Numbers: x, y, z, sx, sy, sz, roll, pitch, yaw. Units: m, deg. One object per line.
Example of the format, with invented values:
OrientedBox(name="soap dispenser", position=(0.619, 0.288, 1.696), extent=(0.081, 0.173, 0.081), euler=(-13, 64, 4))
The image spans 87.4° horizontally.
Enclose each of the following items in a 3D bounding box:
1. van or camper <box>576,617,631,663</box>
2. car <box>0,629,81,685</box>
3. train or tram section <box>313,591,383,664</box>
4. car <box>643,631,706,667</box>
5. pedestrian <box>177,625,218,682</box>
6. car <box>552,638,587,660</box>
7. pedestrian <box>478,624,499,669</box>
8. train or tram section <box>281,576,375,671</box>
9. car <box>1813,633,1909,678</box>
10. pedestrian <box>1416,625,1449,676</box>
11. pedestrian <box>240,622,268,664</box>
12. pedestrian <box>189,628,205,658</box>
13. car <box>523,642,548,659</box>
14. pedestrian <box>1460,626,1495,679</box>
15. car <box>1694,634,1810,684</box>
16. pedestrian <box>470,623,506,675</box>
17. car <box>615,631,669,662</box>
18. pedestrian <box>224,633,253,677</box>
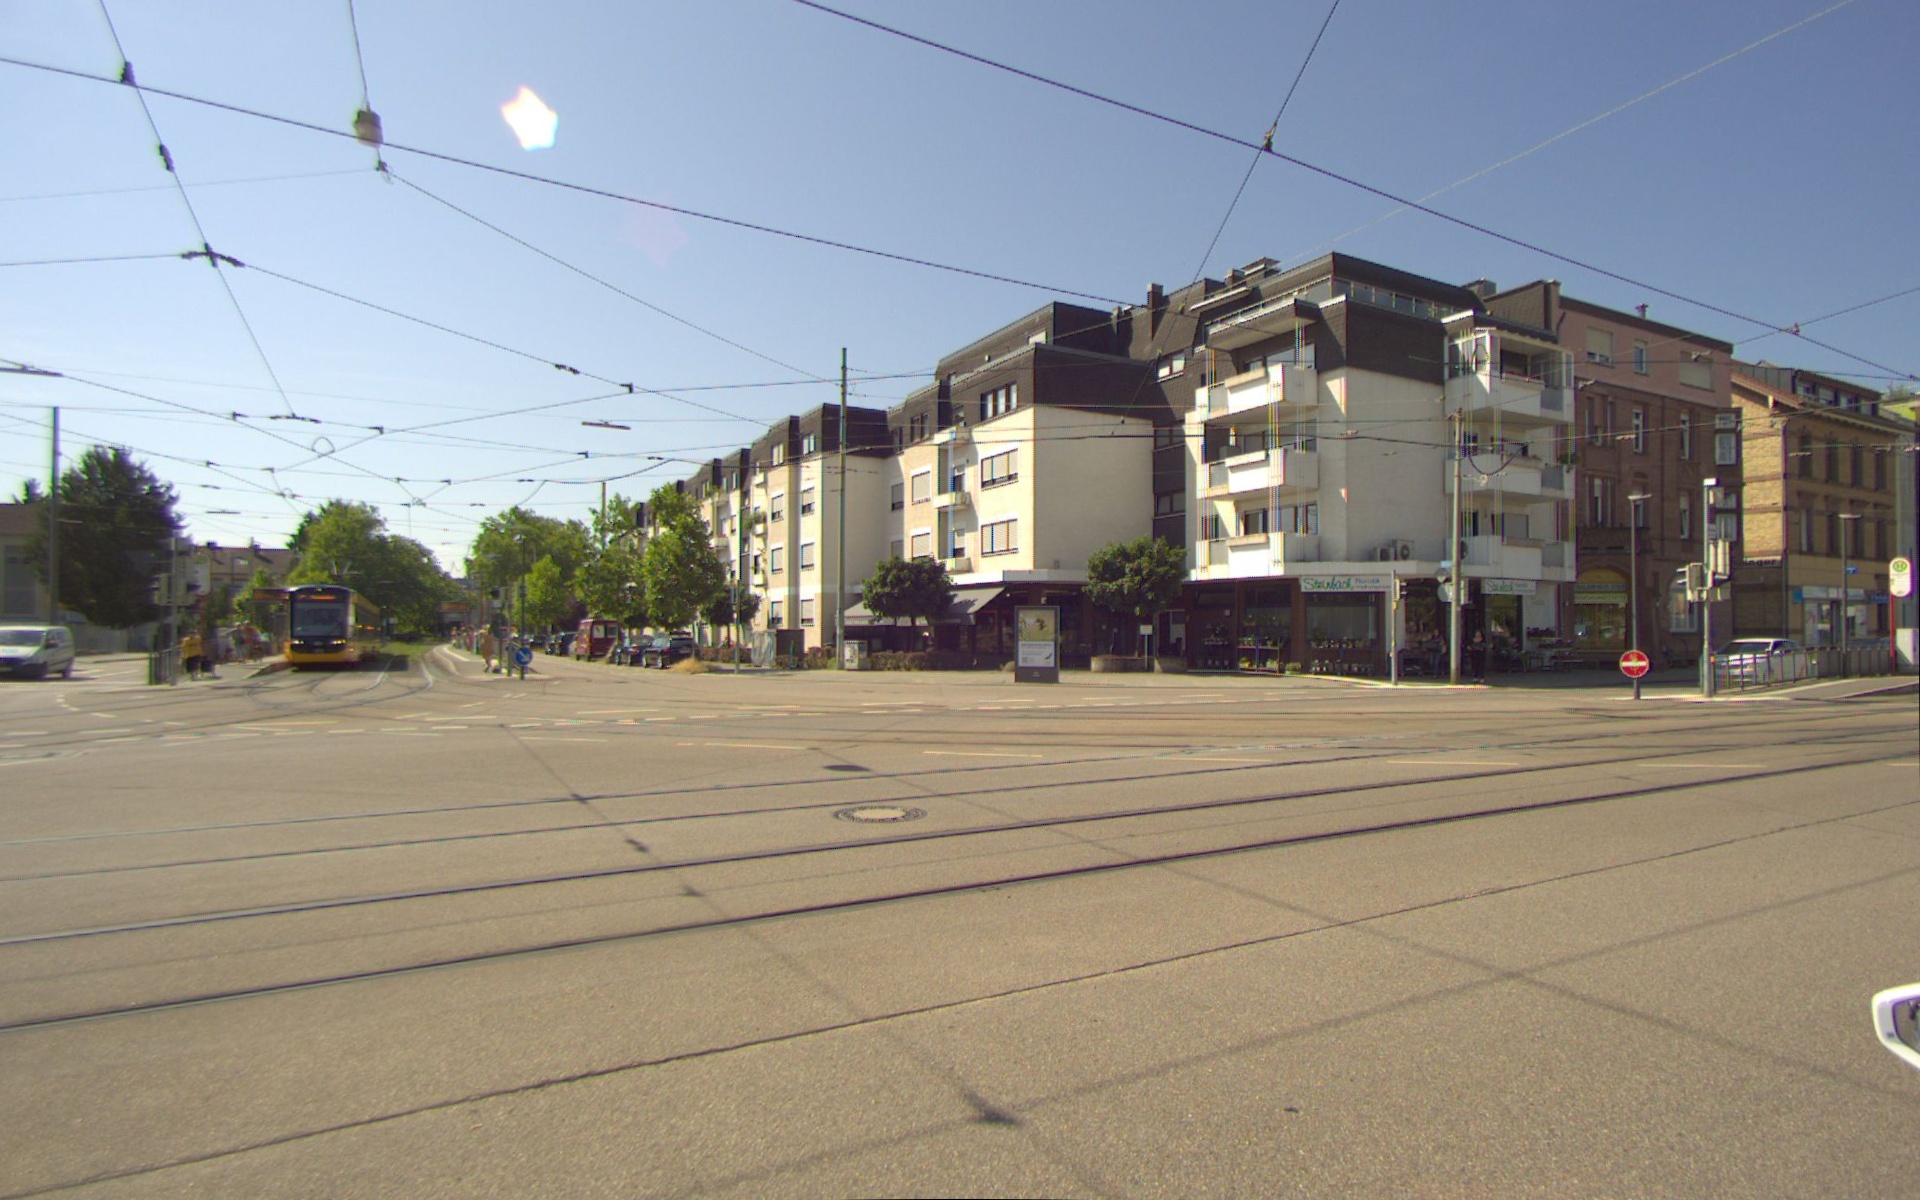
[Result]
OrientedBox(name="van or camper", position=(-21.485, 2.404, 60.436), extent=(2.348, 2.659, 4.853), euler=(1, -2, -30))
OrientedBox(name="car", position=(-33.533, 2.019, 36.188), extent=(1.755, 1.886, 4.626), euler=(1, -2, -28))
OrientedBox(name="train or tram section", position=(-35.036, 1.635, 57.861), extent=(2.735, 3.706, 13.806), euler=(1, -2, -29))
OrientedBox(name="car", position=(-12.849, 2.181, 45.093), extent=(1.806, 1.520, 4.154), euler=(1, -2, -29))
OrientedBox(name="pedestrian", position=(-25.388, 1.760, 33.480), extent=(0.885, 1.862, 1.193), euler=(1, -2, -28))
OrientedBox(name="car", position=(-28.349, 3.556, 72.823), extent=(1.806, 1.520, 3.970), euler=(1, -2, -29))
OrientedBox(name="pedestrian", position=(-18.945, 1.844, 40.380), extent=(0.753, 1.783, 0.807), euler=(1, -2, -25))
OrientedBox(name="train or tram section", position=(-28.469, 1.156, 45.752), extent=(2.735, 3.706, 13.806), euler=(1, -2, -29))
OrientedBox(name="car", position=(31.673, 1.914, 35.306), extent=(3.773, 1.478, 1.564), euler=(1, -2, -33))
OrientedBox(name="pedestrian", position=(15.665, 1.666, 33.306), extent=(0.723, 1.669, 0.675), euler=(1, -2, -30))
OrientedBox(name="pedestrian", position=(-28.905, 1.749, 41.145), extent=(0.803, 1.702, 1.086), euler=(1, -2, -28))
OrientedBox(name="pedestrian", position=(-52.281, 2.935, 68.821), extent=(0.759, 1.991, 0.855), euler=(1, -2, -31))
OrientedBox(name="car", position=(-40.028, 4.722, 94.640), extent=(1.806, 1.520, 3.970), euler=(1, -2, -29))
OrientedBox(name="pedestrian", position=(16.757, 1.699, 32.538), extent=(0.867, 1.669, 0.678), euler=(-2, -3, 39))
OrientedBox(name="car", position=(24.956, 1.808, 31.627), extent=(3.917, 1.450, 1.617), euler=(1, -1, -31))
OrientedBox(name="pedestrian", position=(-17.320, 1.784, 36.871), extent=(1.109, 1.860, 1.429), euler=(1, -2, -28))
OrientedBox(name="car", position=(-16.025, 2.326, 50.484), extent=(1.806, 1.520, 3.970), euler=(1, -2, -29))
OrientedBox(name="pedestrian", position=(-27.786, 2.114, 38.693), extent=(0.775, 1.648, 0.655), euler=(1, -2, -29))
